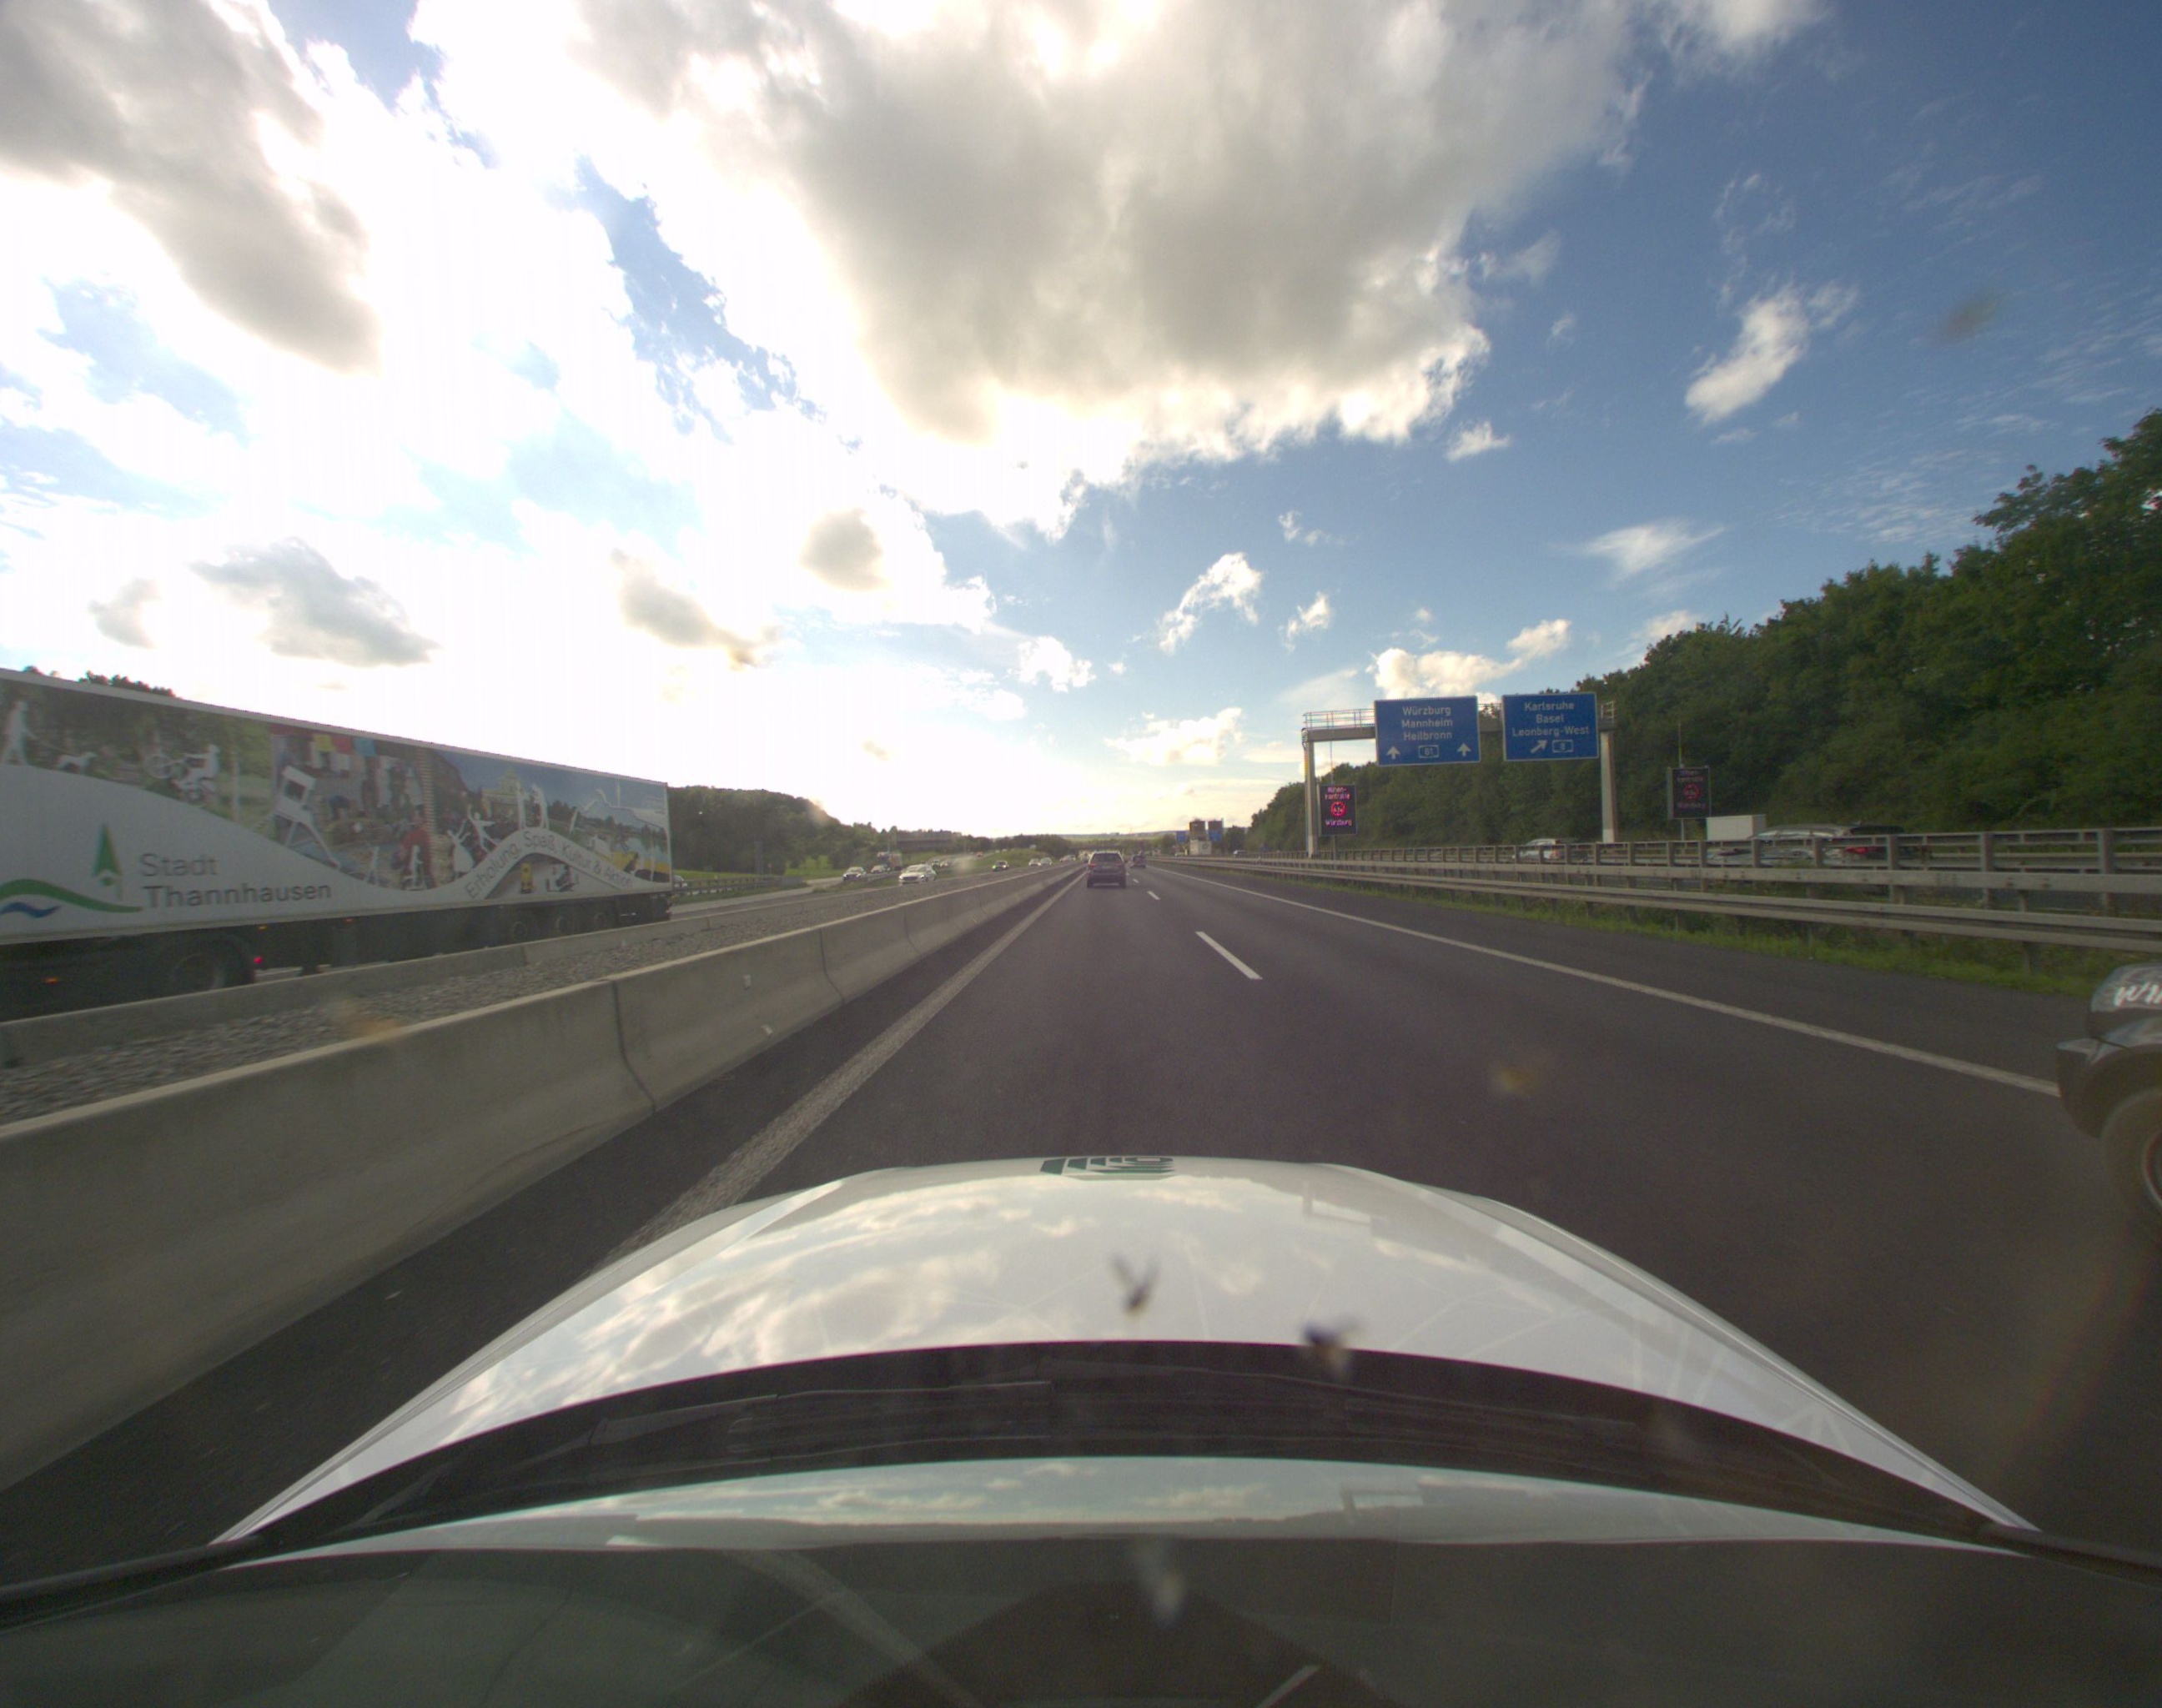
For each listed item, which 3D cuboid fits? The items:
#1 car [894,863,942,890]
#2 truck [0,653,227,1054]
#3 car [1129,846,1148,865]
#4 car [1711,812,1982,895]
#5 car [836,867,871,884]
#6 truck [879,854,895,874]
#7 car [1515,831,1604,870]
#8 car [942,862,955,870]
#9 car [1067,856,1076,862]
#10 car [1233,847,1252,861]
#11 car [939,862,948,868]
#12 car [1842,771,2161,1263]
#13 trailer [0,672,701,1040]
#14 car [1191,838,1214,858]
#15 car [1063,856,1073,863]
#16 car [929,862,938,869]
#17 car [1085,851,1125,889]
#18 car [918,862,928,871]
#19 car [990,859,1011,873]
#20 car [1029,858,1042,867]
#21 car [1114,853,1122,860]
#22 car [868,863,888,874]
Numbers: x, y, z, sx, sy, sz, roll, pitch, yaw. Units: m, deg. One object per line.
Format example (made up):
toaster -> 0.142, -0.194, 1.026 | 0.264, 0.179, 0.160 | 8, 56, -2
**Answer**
car -> -10.829, 1.466, 54.580 | 1.986, 1.618, 5.004 | -3, 0, 2
truck -> -12.353, 0.037, 7.803 | 2.479, 4.129, 5.301 | -3, -1, 2
car -> 6.759, 0.229, 95.953 | 1.986, 2.081, 4.001 | -3, -1, 2
car -> 15.888, 0.004, 17.256 | 1.987, 1.484, 4.000 | -2, 0, 1
car -> -22.987, 2.161, 82.474 | 1.987, 1.451, 5.002 | -3, 0, 0
truck -> -37.526, 1.900, 157.766 | 1.989, 3.761, 5.144 | -3, -1, -3
car -> 23.081, -0.157, 39.476 | 1.986, 1.708, 4.001 | -3, 0, 2
car -> -27.996, 2.509, 171.842 | 1.935, 1.494, 4.129 | -3, 0, 2
car -> -2.437, 1.335, 210.495 | 1.986, 1.532, 5.749 | -3, 0, 1
car -> 22.481, -0.004, 113.421 | 1.986, 1.717, 4.001 | -3, 0, 2
car -> -33.584, 2.617, 198.800 | 1.770, 1.400, 4.388 | -3, 0, -6
car -> 4.565, 0.542, 1.944 | 1.659, 1.732, 4.210 | -2, 0, 3
trailer -> -12.080, 0.087, 15.924 | 2.479, 4.129, 13.288 | -3, 0, 2
car -> 23.842, -1.186, 160.047 | 3.563, 3.676, 7.551 | -3, -1, 2
car -> -3.031, 1.310, 186.196 | 1.986, 1.532, 5.022 | -3, 0, 1
car -> -38.870, 3.011, 214.882 | 1.769, 1.548, 4.883 | -3, 0, -4
car -> 1.209, 0.754, 39.140 | 1.742, 1.630, 3.611 | -3, -1, 3
car -> -35.047, 2.832, 180.702 | 1.769, 1.897, 4.391 | -3, -1, -5
car -> -9.659, 1.428, 98.097 | 1.794, 1.618, 4.303 | -3, 0, 2
car -> -7.937, 1.549, 142.238 | 1.986, 1.456, 4.182 | -3, 0, 2
car -> 9.893, 0.632, 216.919 | 1.968, 1.779, 4.121 | -3, 0, 1
car -> -31.911, 2.302, 128.179 | 1.794, 1.618, 4.303 | -3, 0, 2
